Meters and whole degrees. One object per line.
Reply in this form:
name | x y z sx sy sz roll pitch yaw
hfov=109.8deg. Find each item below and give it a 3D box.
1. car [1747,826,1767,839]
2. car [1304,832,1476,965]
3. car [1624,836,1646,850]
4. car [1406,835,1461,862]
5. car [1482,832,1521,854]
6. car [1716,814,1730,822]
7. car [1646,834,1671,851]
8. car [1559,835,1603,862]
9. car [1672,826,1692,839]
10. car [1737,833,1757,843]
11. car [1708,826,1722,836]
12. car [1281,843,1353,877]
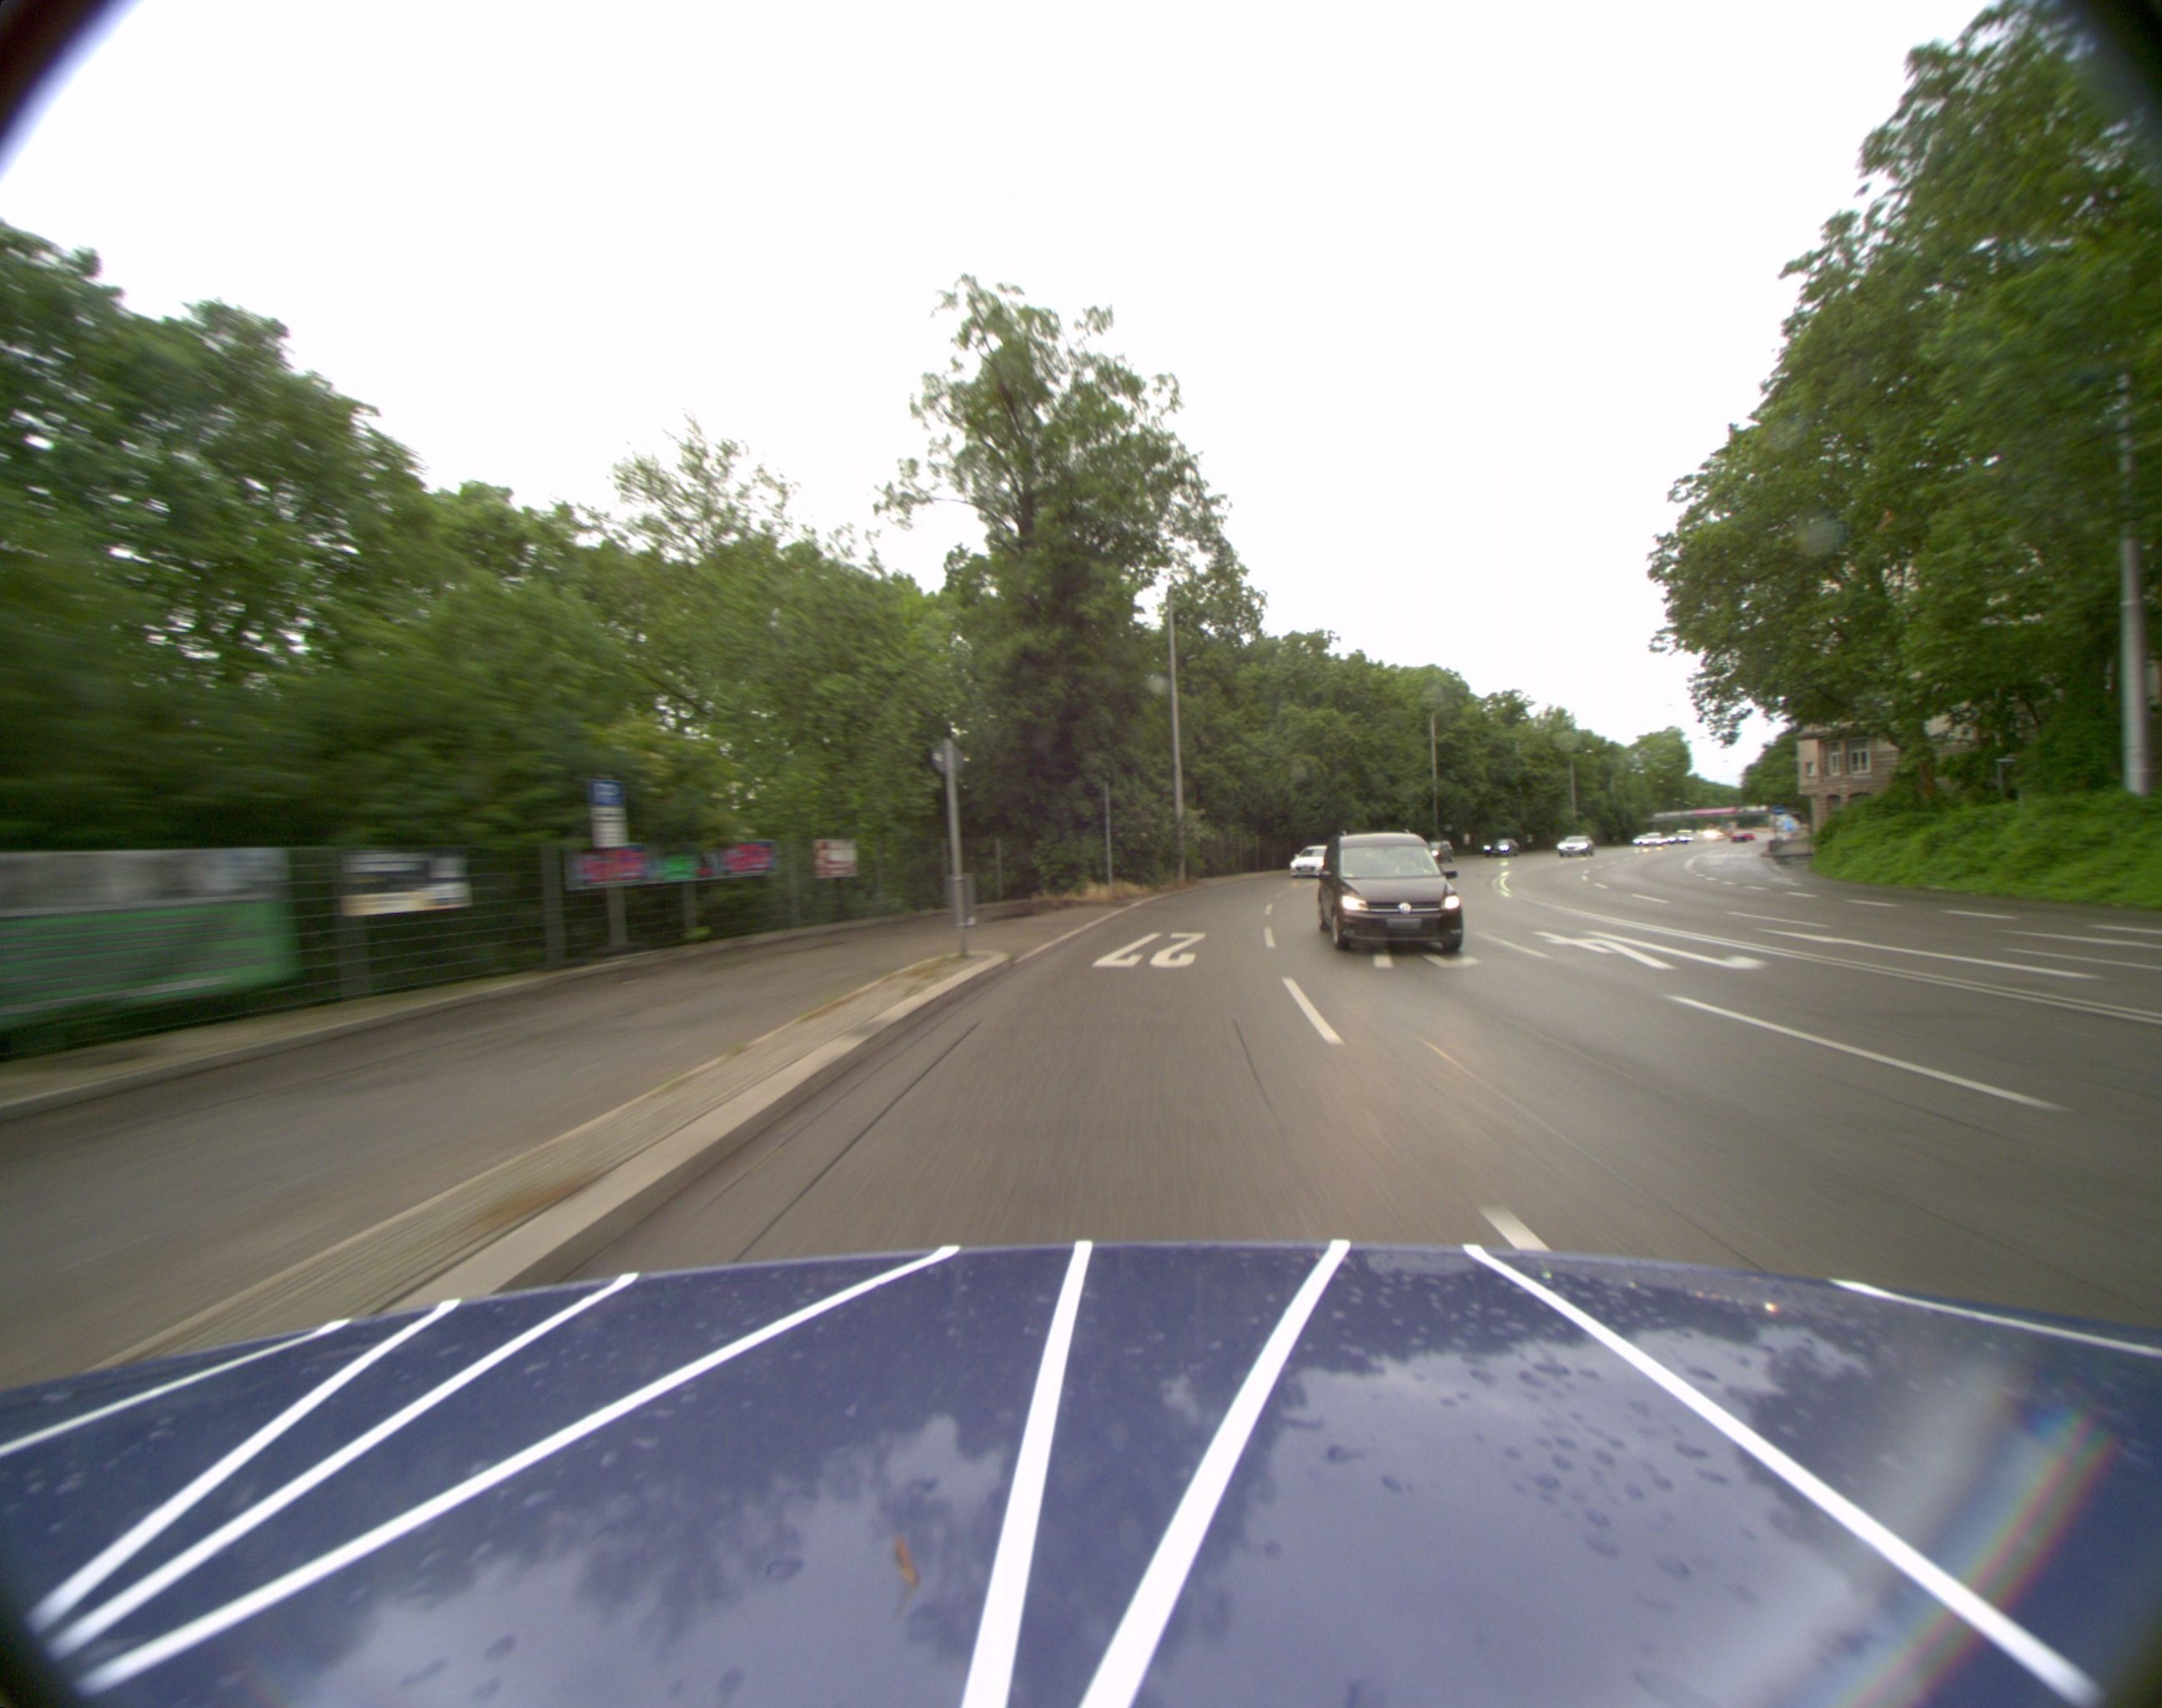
car | 119.874 -3.887 134.794 3.948 2.001 1.851 -4 0 -37
car | 4.767 0.606 12.306 1.840 1.780 4.003 -2 0 12
car | 78.567 -1.571 107.738 1.875 1.761 4.007 -5 -1 43
car | 24.341 -0.387 52.427 4.007 1.586 1.798 -4 -1 -40
car | 36.033 -0.950 65.019 1.798 1.586 4.007 -5 -1 45
car | 143.120 -8.024 169.402 4.007 1.602 1.821 -4 -1 -44
car | 73.130 -1.427 96.194 1.995 1.892 4.007 -5 -1 44
car | 39.339 -0.446 59.757 3.809 1.787 1.699 -4 -1 -39
car | 90.073 -3.219 113.806 1.875 1.761 4.007 -5 -1 44
car | 98.494 -2.368 112.348 3.922 1.331 1.702 -2 1 -42
car | 129.216 -4.744 154.909 1.875 1.761 4.007 -5 -1 43
car | 11.396 0.276 36.481 1.728 1.430 4.008 -3 0 42
